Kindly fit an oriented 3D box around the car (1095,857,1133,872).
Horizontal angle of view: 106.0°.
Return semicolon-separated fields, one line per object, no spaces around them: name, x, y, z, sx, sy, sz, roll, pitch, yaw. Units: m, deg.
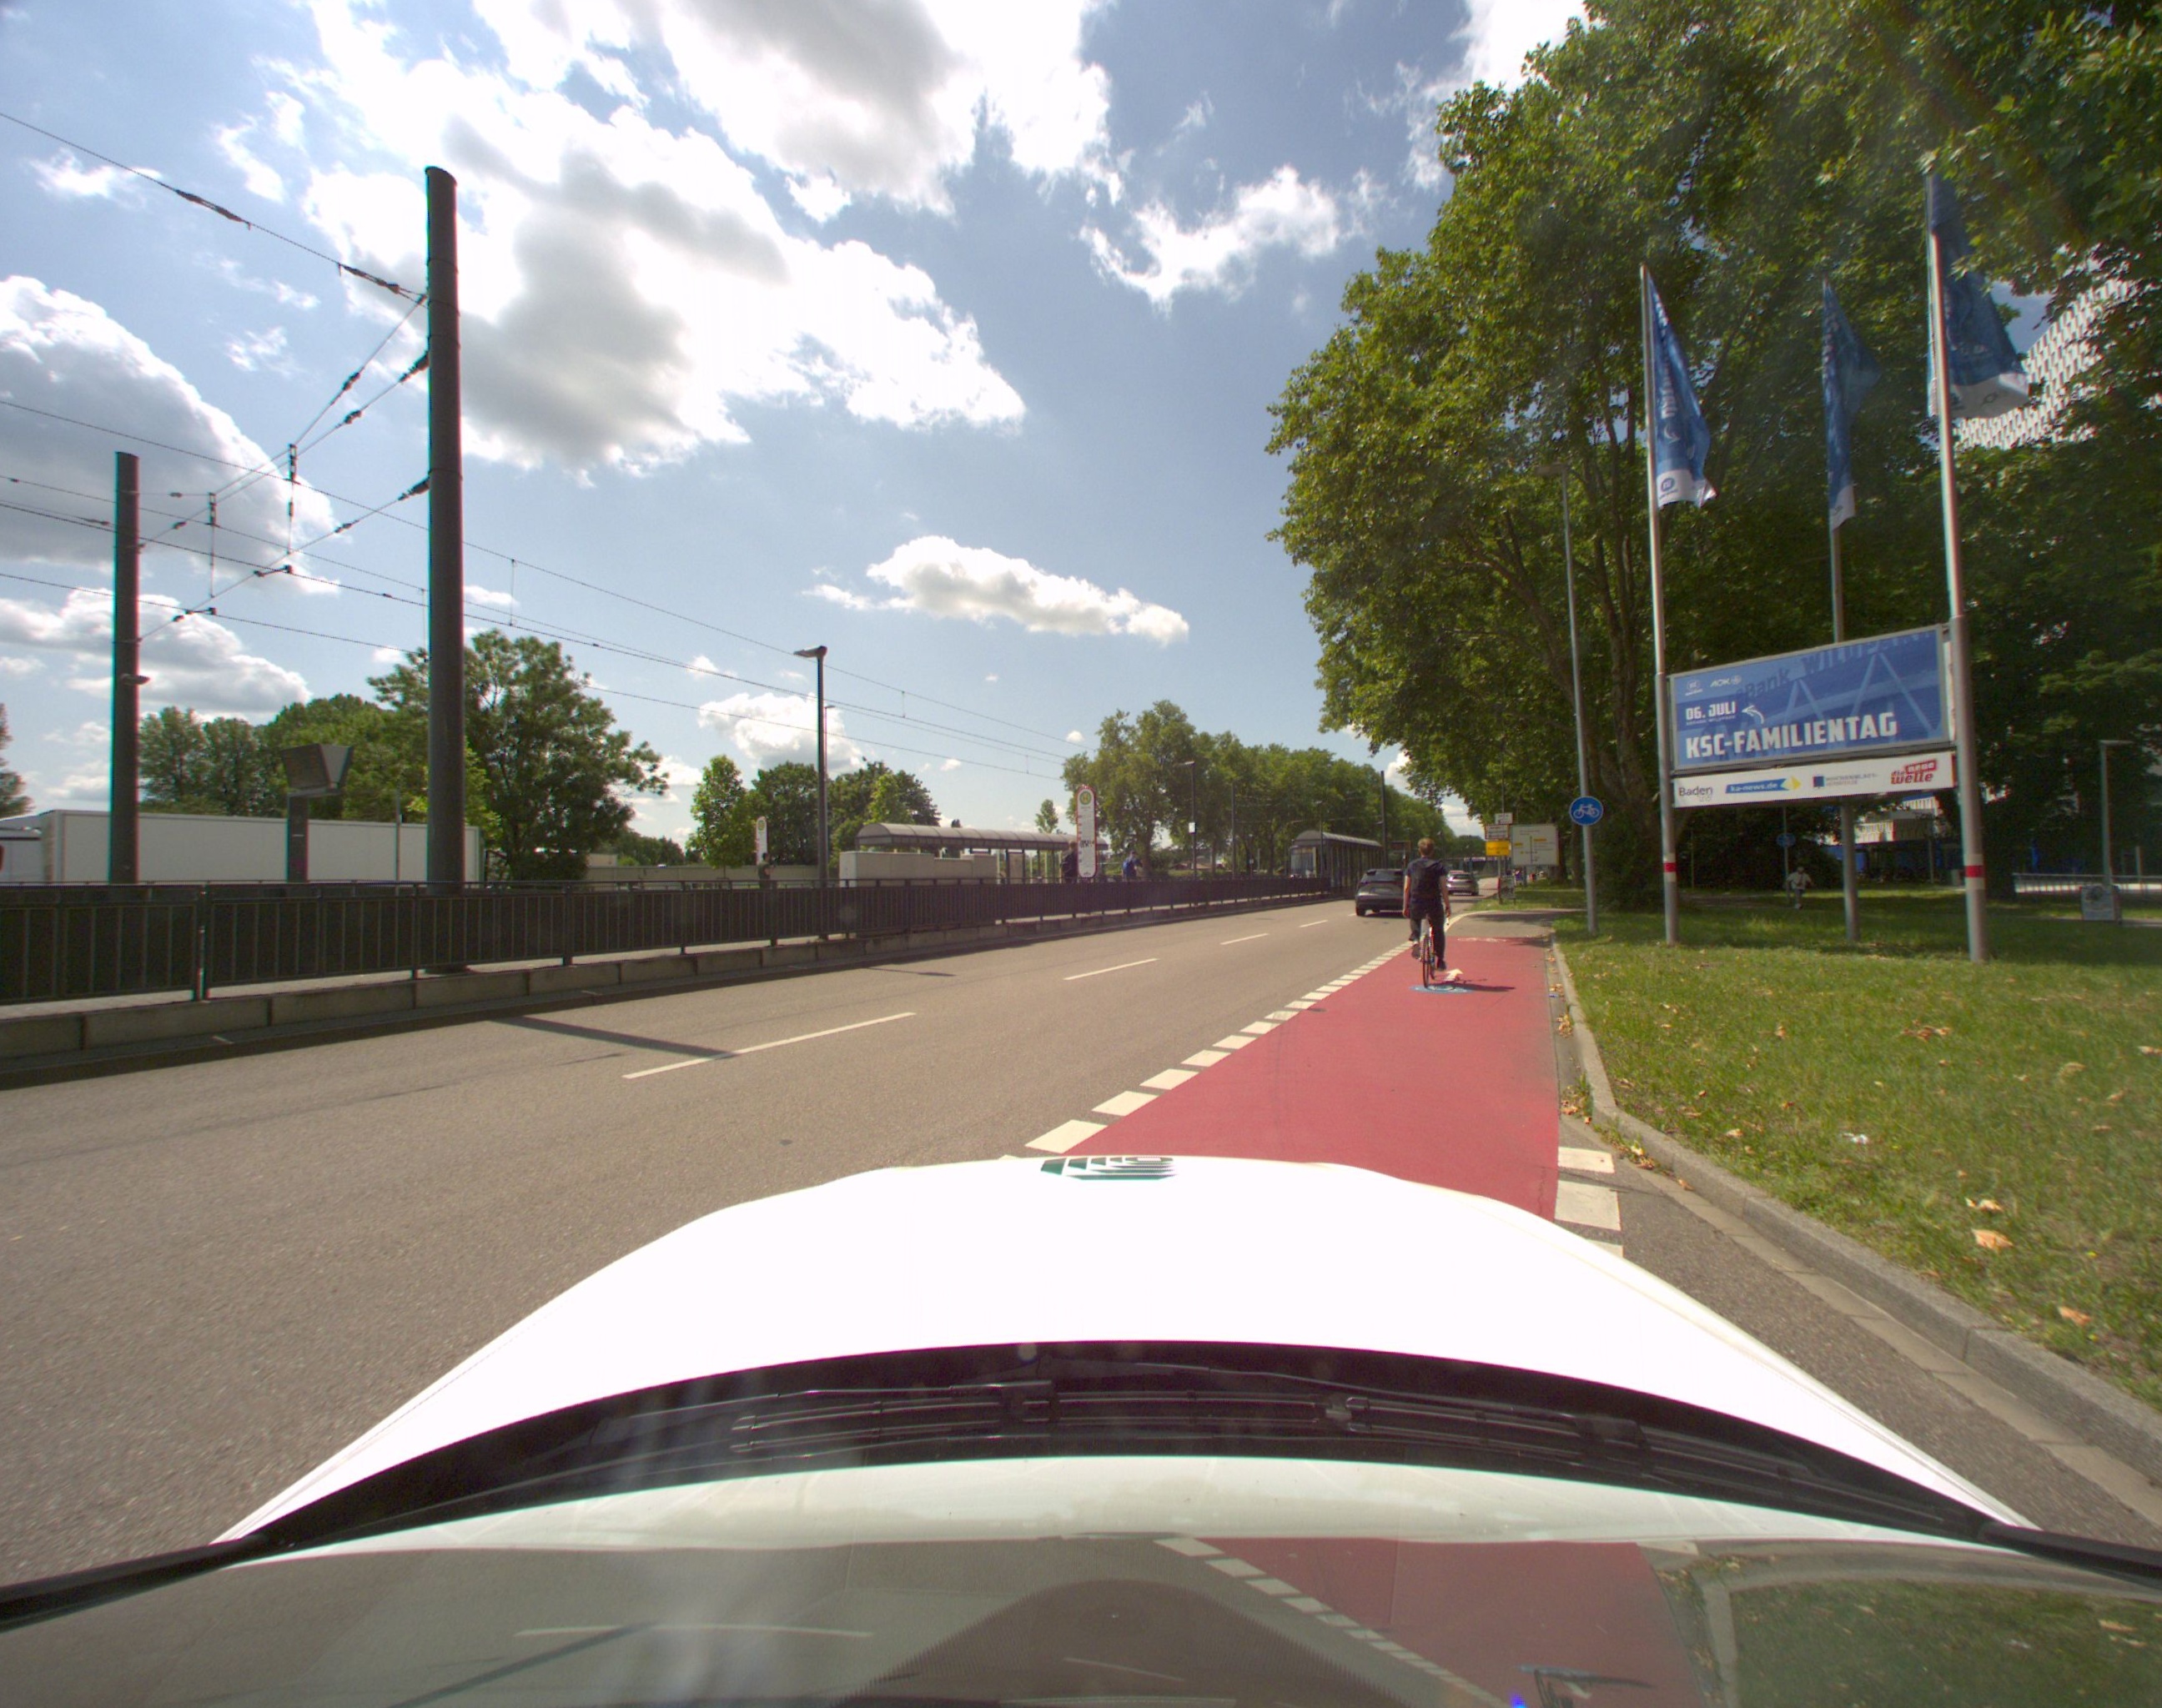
car;3.806;1.256;93.920;3.877;1.662;1.922;-1;0;32

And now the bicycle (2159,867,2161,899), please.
bicycle;38.380;0.951;27.240;0.900;1.121;2.748;0;-2;-35

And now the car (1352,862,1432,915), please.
car;10.796;1.163;28.072;1.880;1.675;4.547;-1;-2;29

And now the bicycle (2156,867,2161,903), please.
bicycle;37.036;0.957;25.618;0.991;1.176;3.797;-1;-2;-34

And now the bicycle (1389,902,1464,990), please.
bicycle;4.587;1.156;10.735;0.614;0.999;2.036;0;-2;31

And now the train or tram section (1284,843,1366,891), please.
train or tram section;18.669;1.048;61.468;3.008;3.186;14.185;-2;-2;28

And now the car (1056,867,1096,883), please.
car;-0.549;2.247;87.188;3.877;1.662;1.922;-1;0;32

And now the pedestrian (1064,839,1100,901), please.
pedestrian;0.018;0.475;24.848;0.878;1.871;0.670;-1;-1;-28

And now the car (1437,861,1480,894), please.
car;23.914;1.437;51.524;1.974;1.989;4.390;-1;-1;31

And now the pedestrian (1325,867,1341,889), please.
pedestrian;13.722;1.293;44.332;0.686;1.190;0.646;0;-1;30

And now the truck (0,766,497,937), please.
truck;-24.852;0.010;24.158;2.914;4.105;12.070;-1;-1;29

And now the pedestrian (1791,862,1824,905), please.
pedestrian;28.694;1.156;32.166;0.767;1.696;0.897;-1;-2;30

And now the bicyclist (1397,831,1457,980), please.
bicyclist;4.528;0.644;10.640;0.603;1.846;0.929;0;-1;31

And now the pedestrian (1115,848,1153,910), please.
pedestrian;1.554;0.724;23.770;0.727;1.756;0.935;-1;-1;31

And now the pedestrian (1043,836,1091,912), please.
pedestrian;-0.369;0.520;21.661;0.865;1.939;1.000;-1;-1;30

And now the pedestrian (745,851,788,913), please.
pedestrian;-9.398;0.837;24.356;0.727;1.807;0.935;-1;-1;31
